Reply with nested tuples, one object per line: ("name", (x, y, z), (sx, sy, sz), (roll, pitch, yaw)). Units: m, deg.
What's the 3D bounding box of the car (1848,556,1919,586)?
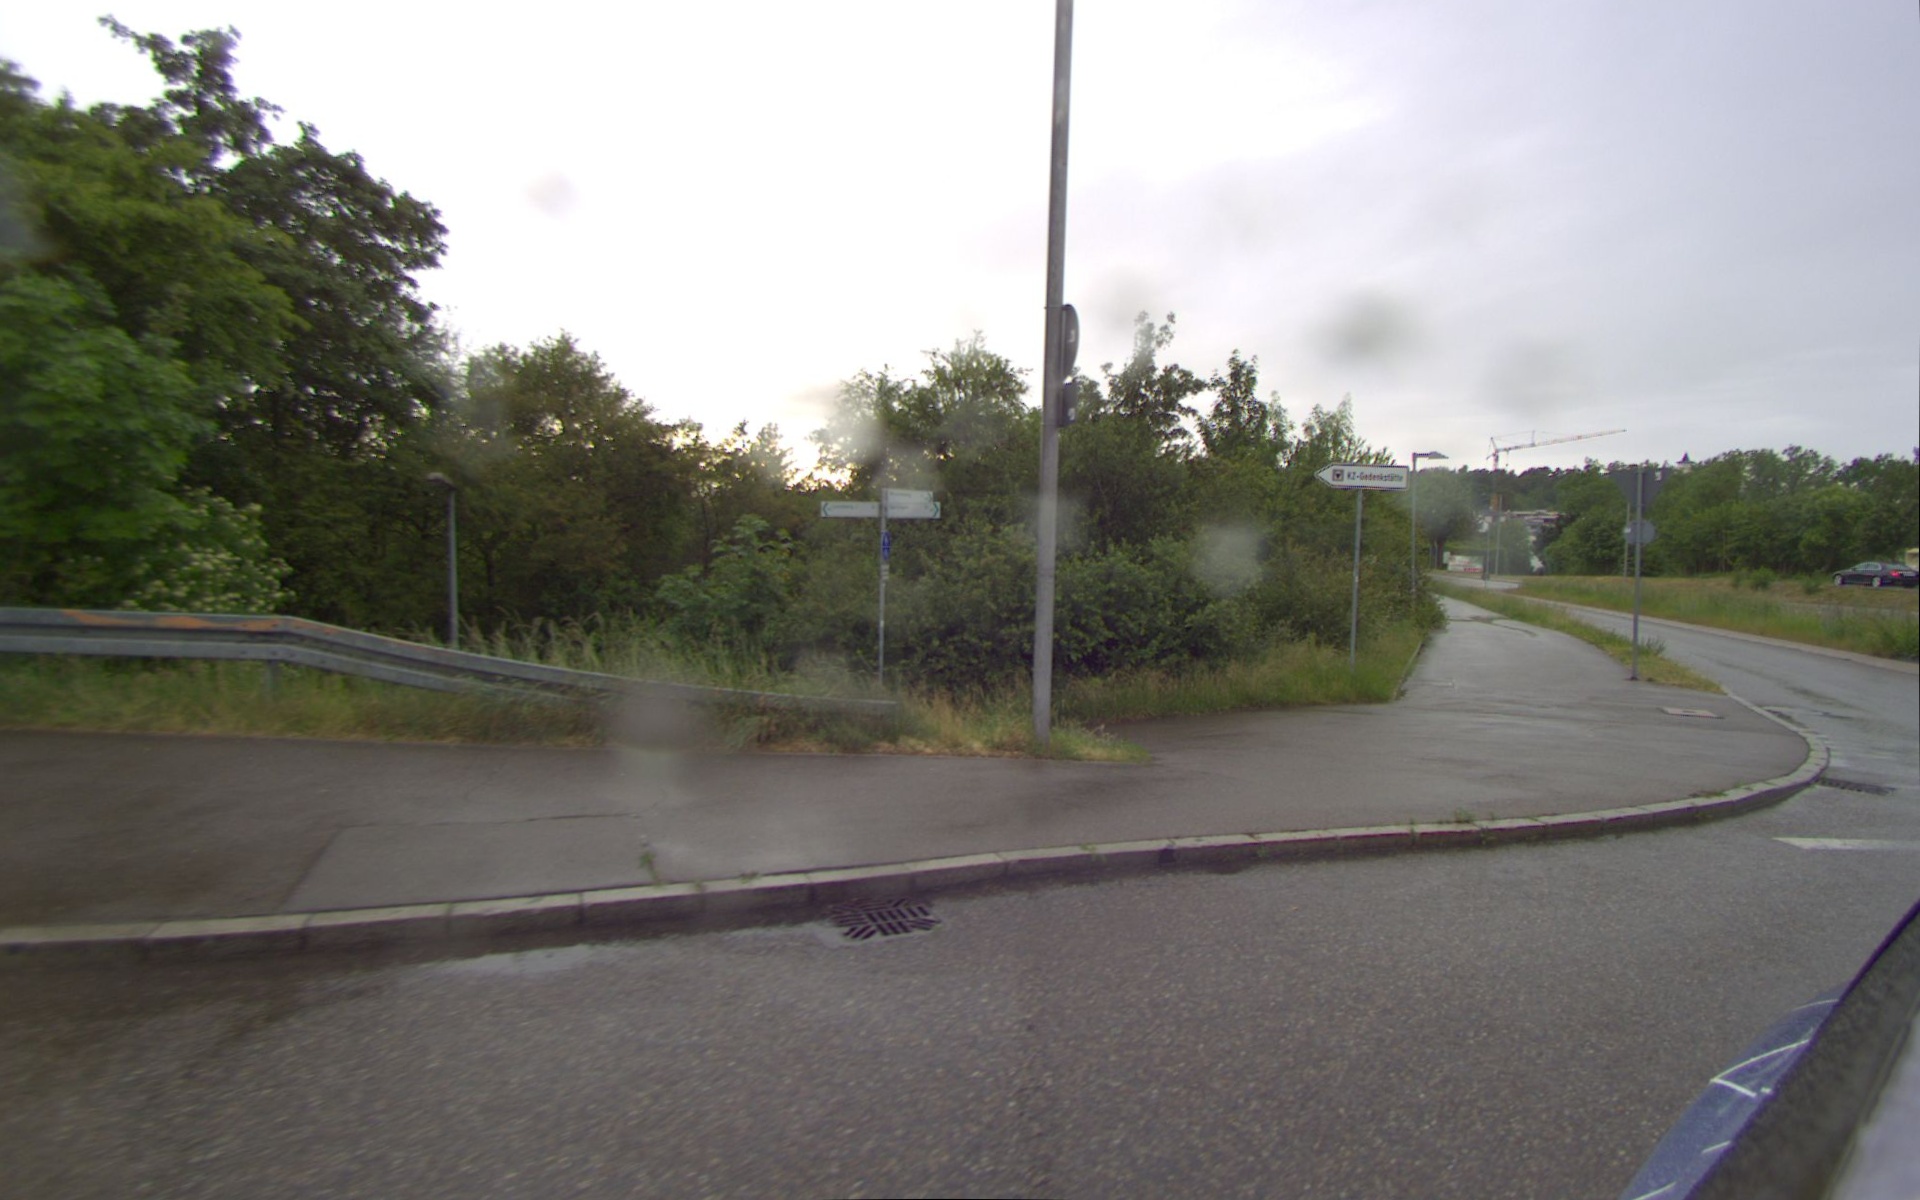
("car", (52.485, -1.634, 56.993), (1.670, 1.588, 4.527), (-1, 1, 12))
